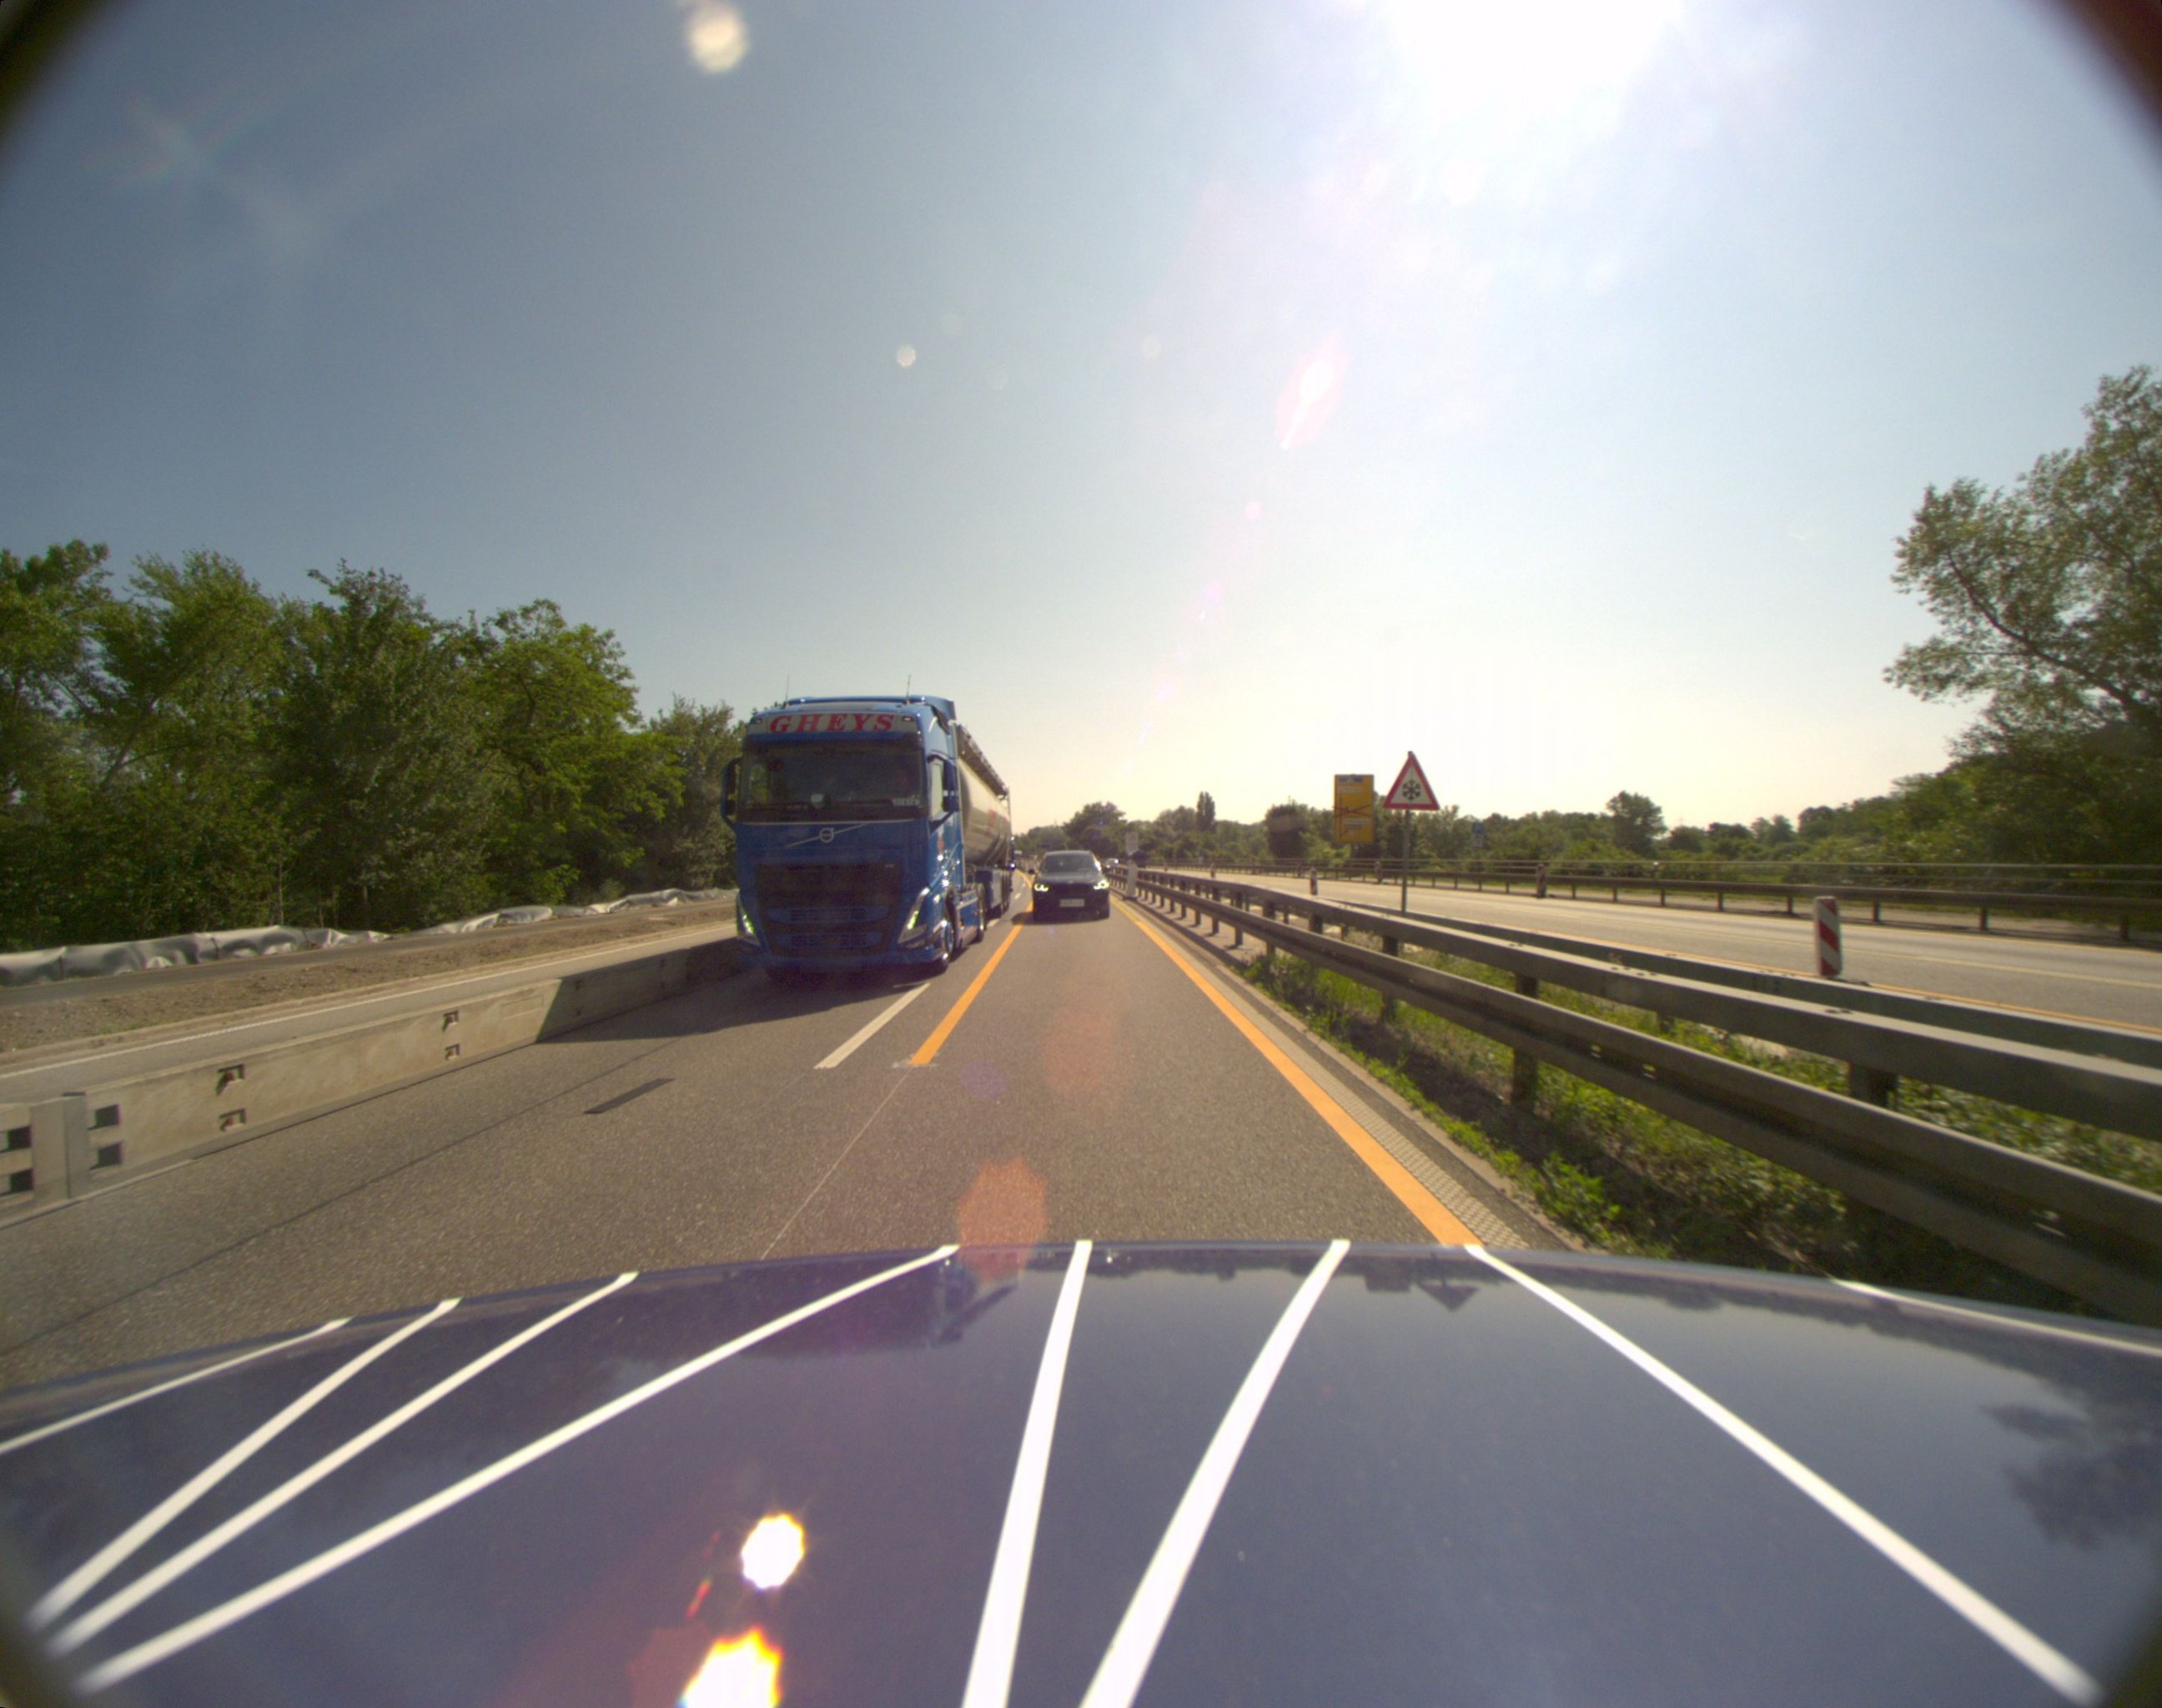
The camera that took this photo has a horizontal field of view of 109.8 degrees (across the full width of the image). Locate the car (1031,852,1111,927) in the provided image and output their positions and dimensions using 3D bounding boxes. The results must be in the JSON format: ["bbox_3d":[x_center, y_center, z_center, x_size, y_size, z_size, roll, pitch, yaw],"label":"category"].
[{"bbox_3d":[-0.209,0.817,19.788,1.789,1.651,4.486,-2,0,0],"label":"car"}]

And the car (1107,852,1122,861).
[{"bbox_3d":[5.464,0.436,125.484,1.724,1.389,4.517,-1,0,-7],"label":"car"}]

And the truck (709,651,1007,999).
[{"bbox_3d":[-2.999,-0.331,12.625,2.701,4.078,7.300,1,0,0],"label":"truck"}]

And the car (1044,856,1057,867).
[{"bbox_3d":[-5.572,1.322,139.509,1.998,2.002,4.000,1,0,1],"label":"car"}]

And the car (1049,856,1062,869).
[{"bbox_3d":[-4.042,1.289,121.131,1.998,2.002,4.000,1,0,1],"label":"car"}]

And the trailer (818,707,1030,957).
[{"bbox_3d":[-3.020,-0.341,18.882,2.701,4.113,12.613,1,0,0],"label":"trailer"}]

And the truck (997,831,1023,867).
[{"bbox_3d":[-8.465,-0.526,89.700,2.863,3.961,8.660,1,0,-7],"label":"truck"}]

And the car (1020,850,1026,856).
[{"bbox_3d":[-19.309,-0.463,252.565,1.999,2.002,3.999,1,0,-2],"label":"car"}]

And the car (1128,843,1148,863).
[{"bbox_3d":[8.032,-0.132,107.295,2.152,2.645,5.544,0,0,-4],"label":"car"}]
